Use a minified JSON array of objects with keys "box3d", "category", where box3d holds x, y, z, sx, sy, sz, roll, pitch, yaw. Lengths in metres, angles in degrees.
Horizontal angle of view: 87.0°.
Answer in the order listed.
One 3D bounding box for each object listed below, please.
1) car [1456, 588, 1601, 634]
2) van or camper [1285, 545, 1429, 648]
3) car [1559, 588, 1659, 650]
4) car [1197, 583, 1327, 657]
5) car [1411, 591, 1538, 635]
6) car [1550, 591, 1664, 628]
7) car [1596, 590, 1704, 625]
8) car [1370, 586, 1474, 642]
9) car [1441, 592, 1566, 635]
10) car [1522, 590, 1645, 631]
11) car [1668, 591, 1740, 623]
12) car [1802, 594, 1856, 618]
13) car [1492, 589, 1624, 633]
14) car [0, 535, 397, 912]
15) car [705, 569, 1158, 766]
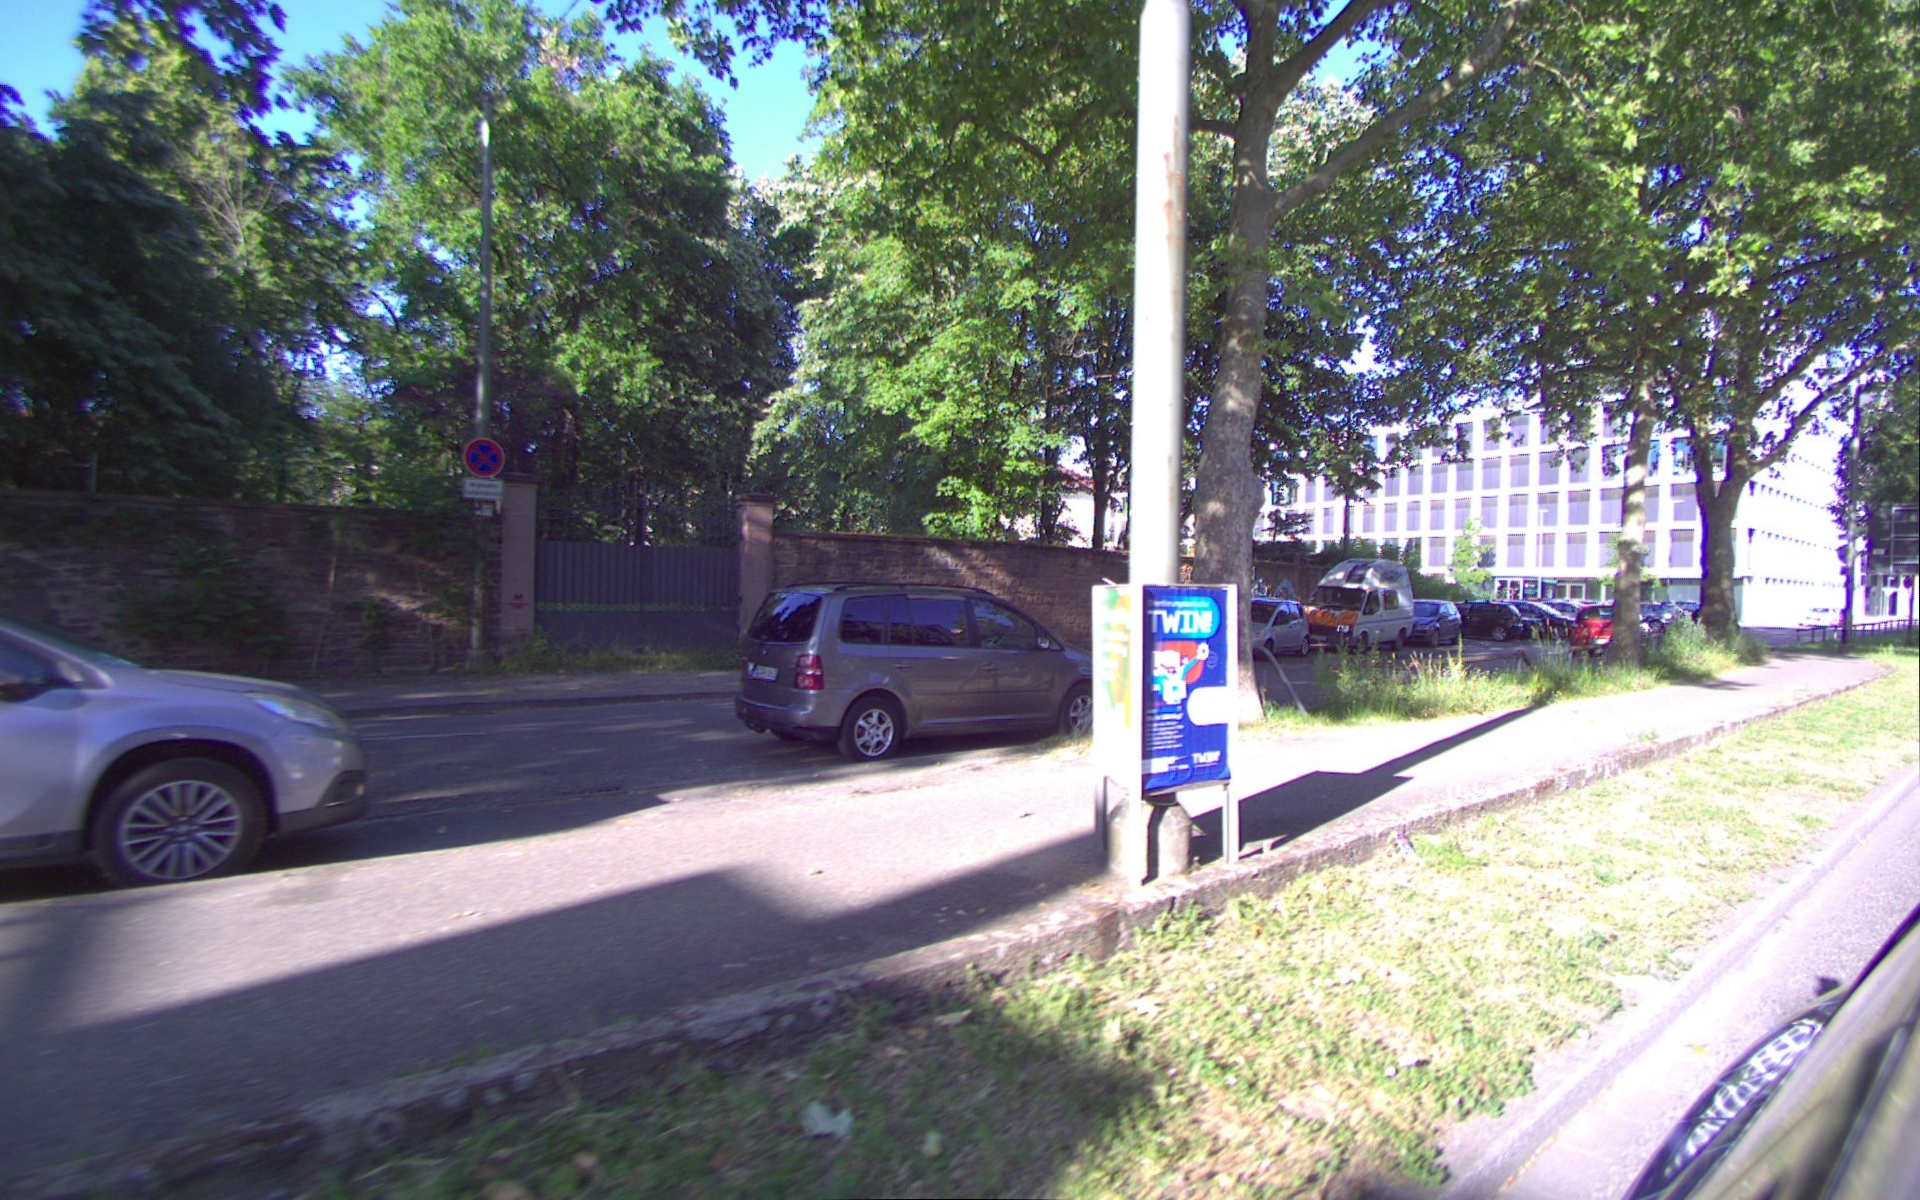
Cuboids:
[{"box3d":[23.291,0.391,41.617,1.964,1.423,4.733,0,5,-40],"category":"car"},{"box3d":[11.861,-0.148,30.041,4.882,2.764,1.996,-1,4,-44],"category":"van or camper"},{"box3d":[18.606,0.491,28.945,1.990,1.661,3.943,0,0,39],"category":"car"},{"box3d":[7.926,0.462,26.378,1.837,1.637,3.944,6,4,38],"category":"car"},{"box3d":[19.670,0.445,38.795,1.736,1.523,3.992,0,1,-43],"category":"car"},{"box3d":[30.131,0.416,47.216,1.752,1.517,4.197,0,2,-43],"category":"car"},{"box3d":[34.190,0.322,50.224,1.685,1.486,4.090,0,3,-39],"category":"car"},{"box3d":[15.397,0.418,33.665,1.993,1.593,3.940,5,4,42],"category":"car"},{"box3d":[21.421,0.490,40.017,1.590,1.409,4.000,0,3,-37],"category":"car"},{"box3d":[27.886,0.464,45.356,1.875,1.496,4.334,2,2,-44],"category":"car"},{"box3d":[40.350,0.347,54.958,1.433,1.568,2.778,0,3,-31],"category":"car"},{"box3d":[60.790,0.397,70.764,4.322,1.503,2.000,0,4,-38],"category":"car"},{"box3d":[25.564,0.432,43.394,1.963,1.427,4.396,0,5,-38],"category":"car"},{"box3d":[-4.970,0.547,4.654,3.946,1.580,1.797,-1,-2,-38],"category":"car"},{"box3d":[-0.161,0.549,10.606,4.540,1.655,1.798,-1,0,-36],"category":"car"}]
